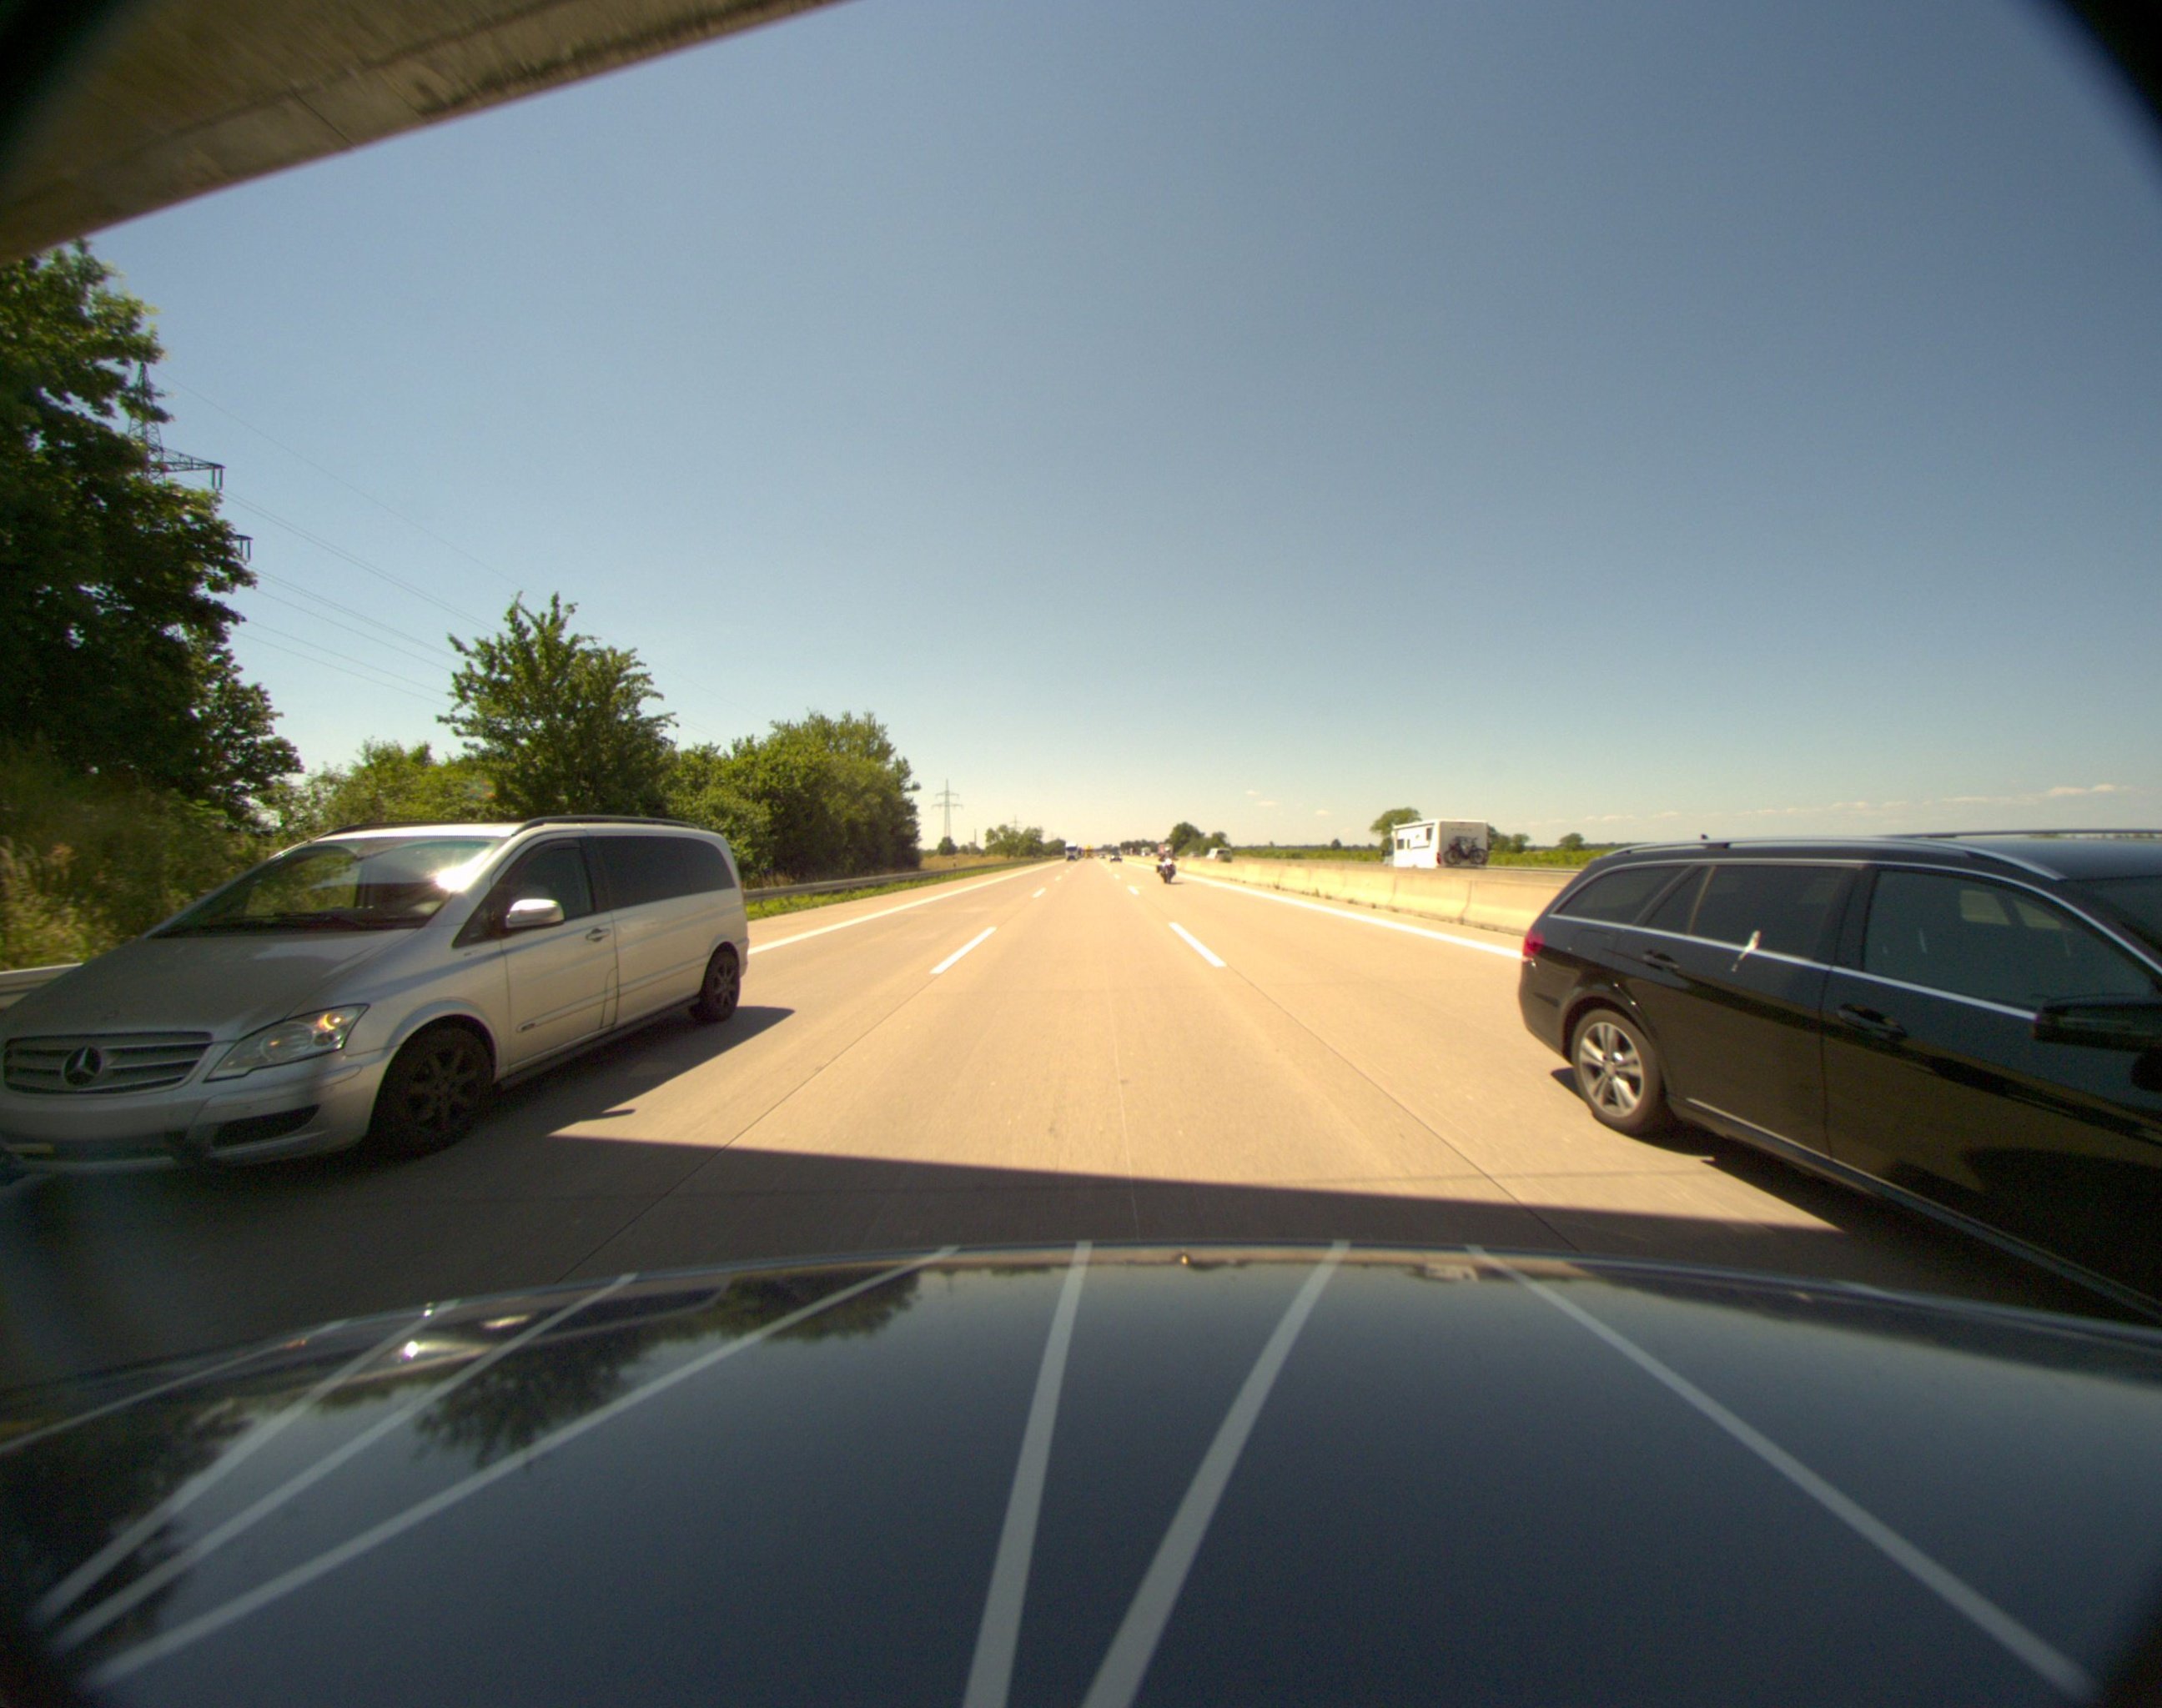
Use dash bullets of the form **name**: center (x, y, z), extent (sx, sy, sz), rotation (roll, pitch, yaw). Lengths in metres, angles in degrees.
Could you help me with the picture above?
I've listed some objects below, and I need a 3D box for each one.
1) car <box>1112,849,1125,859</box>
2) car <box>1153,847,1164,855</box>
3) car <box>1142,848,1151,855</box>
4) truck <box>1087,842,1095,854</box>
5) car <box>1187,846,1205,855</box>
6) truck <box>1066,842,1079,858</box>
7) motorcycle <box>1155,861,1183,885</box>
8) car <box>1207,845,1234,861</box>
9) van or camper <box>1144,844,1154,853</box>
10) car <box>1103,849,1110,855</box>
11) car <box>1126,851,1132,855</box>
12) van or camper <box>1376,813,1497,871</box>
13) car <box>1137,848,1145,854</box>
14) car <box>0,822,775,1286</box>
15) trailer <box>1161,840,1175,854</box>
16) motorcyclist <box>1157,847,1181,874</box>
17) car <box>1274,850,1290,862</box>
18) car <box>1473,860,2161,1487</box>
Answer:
- **car**: center (5.935, 0.002, 121.438), extent (1.998, 1.518, 4.000), rotation (-1, 0, 1)
- **car**: center (14.643, -0.605, 143.443), extent (1.761, 1.488, 4.080), rotation (0, 0, 1)
- **car**: center (15.218, -0.560, 176.131), extent (1.692, 1.535, 4.338), rotation (-1, 0, 1)
- **truck**: center (3.179, -1.862, 242.153), extent (2.570, 3.711, 10.099), rotation (-1, 0, 1)
- **car**: center (18.950, -0.558, 125.527), extent (2.070, 1.488, 6.135), rotation (0, 0, 1)
- **truck**: center (-1.948, -0.894, 171.991), extent (2.570, 3.514, 10.099), rotation (-1, 0, 1)
- **motorcycle**: center (4.097, 0.859, 35.540), extent (1.024, 1.042, 2.413), rotation (-2, 0, 1)
- **car**: center (15.040, -0.125, 82.193), extent (1.831, 1.708, 5.792), rotation (-1, 0, 1)
- **van or camper**: center (20.716, -1.699, 232.255), extent (2.532, 2.873, 7.938), rotation (-1, 0, 2)
- **car**: center (6.989, -0.613, 208.563), extent (1.586, 1.527, 3.611), rotation (-1, 0, 1)
- **car**: center (16.718, -0.345, 262.636), extent (1.798, 1.546, 4.601), rotation (-1, 0, 1)
- **van or camper**: center (16.952, -0.559, 36.900), extent (2.254, 2.429, 7.801), rotation (-2, 0, 1)
- **car**: center (16.831, -0.749, 213.609), extent (1.847, 1.606, 4.428), rotation (0, 0, 0)
- **car**: center (-4.385, 0.822, 5.741), extent (1.884, 1.878, 5.279), rotation (-1, 0, 1)
- **trailer**: center (25.362, -2.000, 221.419), extent (3.007, 3.959, 12.341), rotation (-1, 0, 1)
- **motorcyclist**: center (4.081, 0.299, 35.346), extent (1.027, 1.202, 0.911), rotation (-1, 1, 1)
- **car**: center (27.353, 0.309, 103.511), extent (1.401, 1.574, 3.102), rotation (-1, 1, 2)
- **car**: center (3.584, 0.797, 2.380), extent (1.895, 1.465, 5.603), rotation (-1, 0, 1)
